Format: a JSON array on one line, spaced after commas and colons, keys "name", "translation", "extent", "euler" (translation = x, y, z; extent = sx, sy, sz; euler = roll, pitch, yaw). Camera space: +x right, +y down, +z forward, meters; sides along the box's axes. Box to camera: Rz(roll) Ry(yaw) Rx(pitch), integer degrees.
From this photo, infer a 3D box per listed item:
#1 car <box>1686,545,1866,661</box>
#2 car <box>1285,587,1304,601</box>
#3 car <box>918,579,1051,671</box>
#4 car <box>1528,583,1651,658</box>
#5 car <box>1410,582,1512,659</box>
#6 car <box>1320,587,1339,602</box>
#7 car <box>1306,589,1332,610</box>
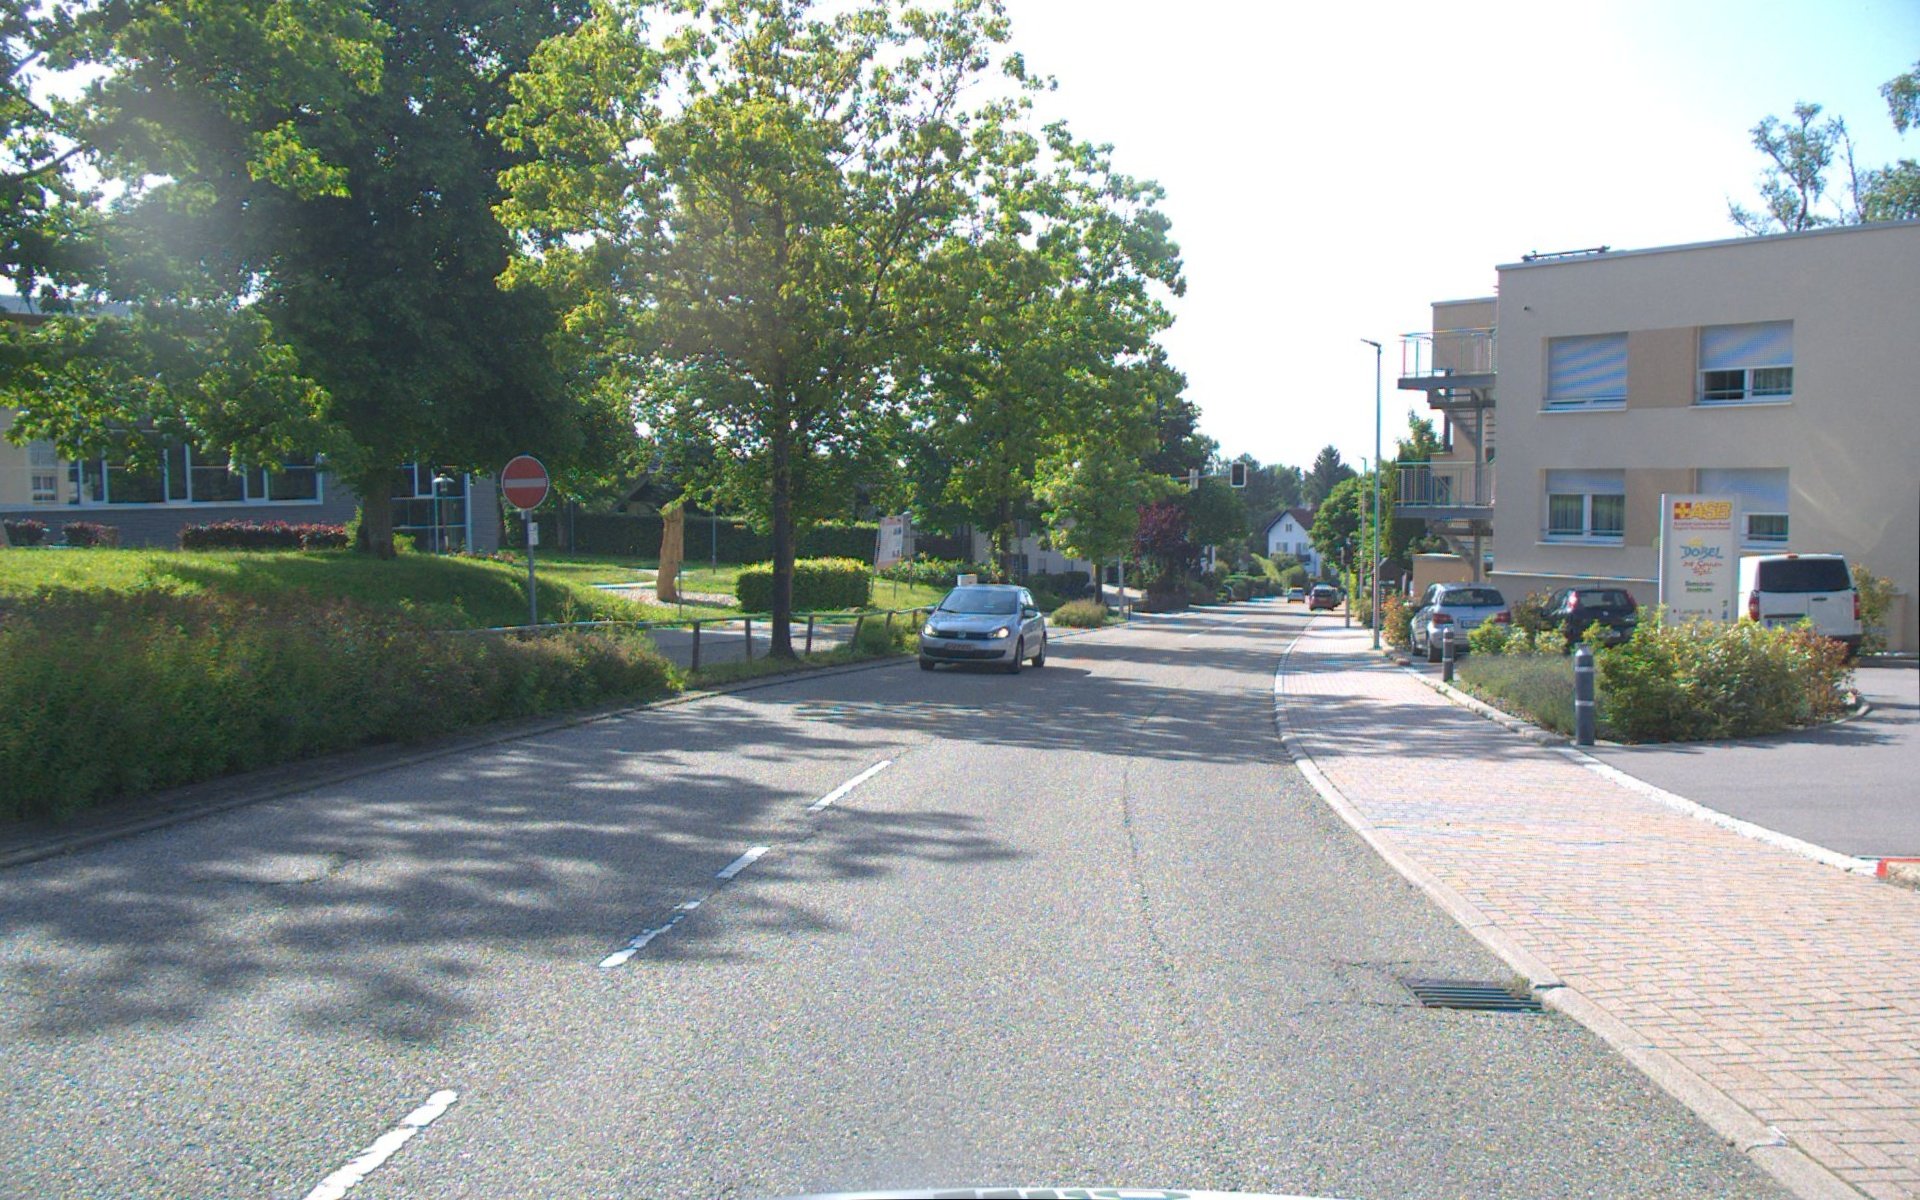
[{"name": "car", "translation": [14.936, 0.034, 30.538], "extent": [1.765, 1.969, 4.739], "euler": [0, 0, 11]}, {"name": "car", "translation": [34.493, -0.598, 170.439], "extent": [1.672, 1.452, 4.010], "euler": [0, 0, 14]}, {"name": "car", "translation": [0.503, 0.392, 29.275], "extent": [1.692, 1.468, 4.069], "euler": [2, 1, 10]}, {"name": "car", "translation": [12.948, 0.380, 34.236], "extent": [1.671, 1.452, 4.011], "euler": [0, 0, 10]}, {"name": "car", "translation": [10.772, 0.404, 35.768], "extent": [1.671, 1.562, 4.011], "euler": [0, 0, 10]}, {"name": "car", "translation": [35.883, -0.564, 160.772], "extent": [1.671, 1.452, 4.011], "euler": [0, 0, 10]}, {"name": "car", "translation": [25.904, -0.052, 119.336], "extent": [1.671, 1.452, 4.011], "euler": [0, 0, 10]}]
